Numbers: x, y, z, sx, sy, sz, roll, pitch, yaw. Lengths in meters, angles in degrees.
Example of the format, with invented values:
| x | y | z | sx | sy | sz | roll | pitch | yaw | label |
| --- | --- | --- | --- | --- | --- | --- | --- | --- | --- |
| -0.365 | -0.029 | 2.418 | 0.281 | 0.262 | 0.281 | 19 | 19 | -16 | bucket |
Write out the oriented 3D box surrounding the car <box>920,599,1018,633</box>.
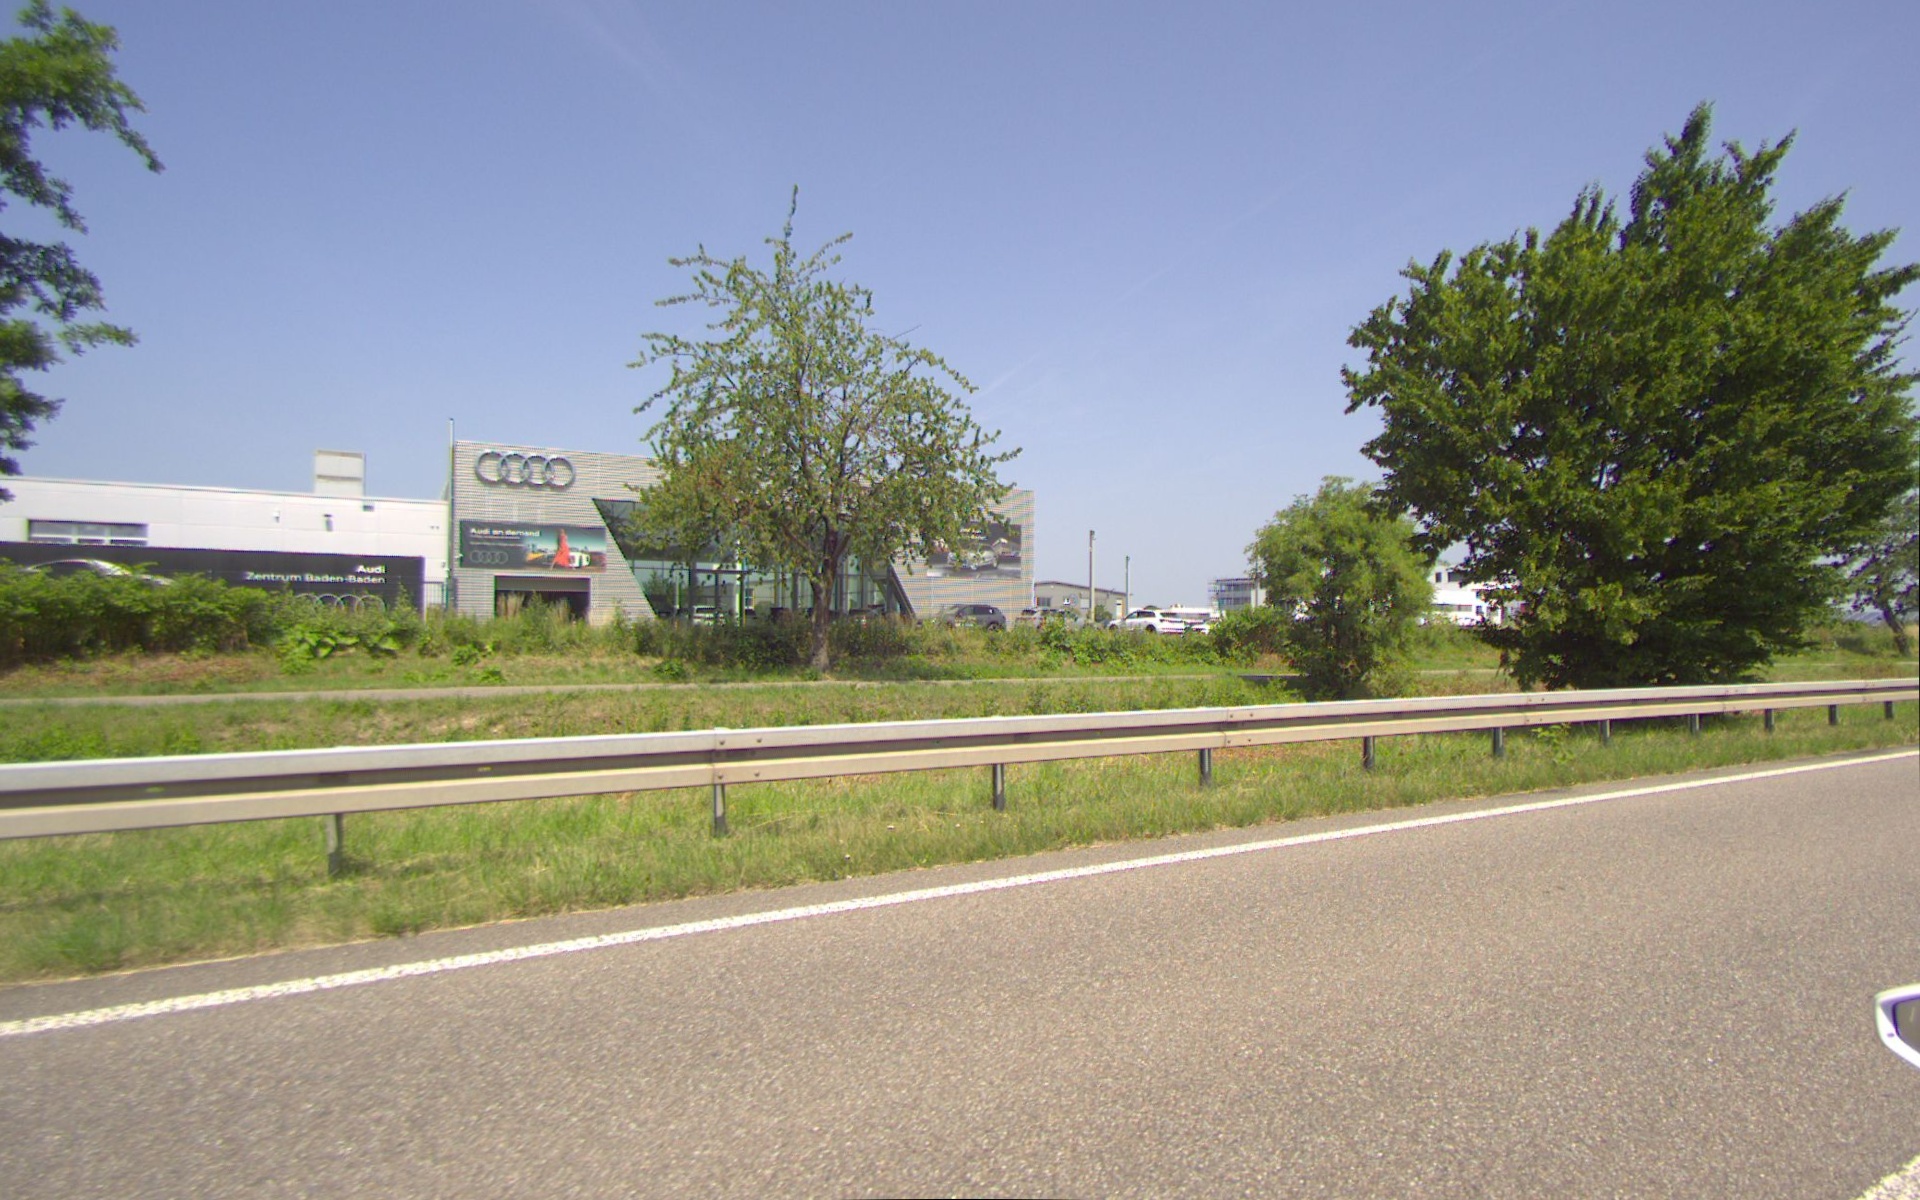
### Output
| x | y | z | sx | sy | sz | roll | pitch | yaw | label |
| --- | --- | --- | --- | --- | --- | --- | --- | --- | --- |
| 0.457 | 0.814 | 49.207 | 4.609 | 1.557 | 1.739 | 1 | -3 | -30 | car |

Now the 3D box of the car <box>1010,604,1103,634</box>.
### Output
| x | y | z | sx | sy | sz | roll | pitch | yaw | label |
| --- | --- | --- | --- | --- | --- | --- | --- | --- | --- |
| 4.961 | 0.981 | 51.369 | 4.609 | 1.456 | 1.740 | 1 | -3 | -29 | car |

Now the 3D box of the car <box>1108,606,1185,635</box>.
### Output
| x | y | z | sx | sy | sz | roll | pitch | yaw | label |
| --- | --- | --- | --- | --- | --- | --- | --- | --- | --- |
| 10.093 | 1.139 | 54.493 | 1.608 | 1.456 | 4.198 | 1 | -3 | -35 | car |
